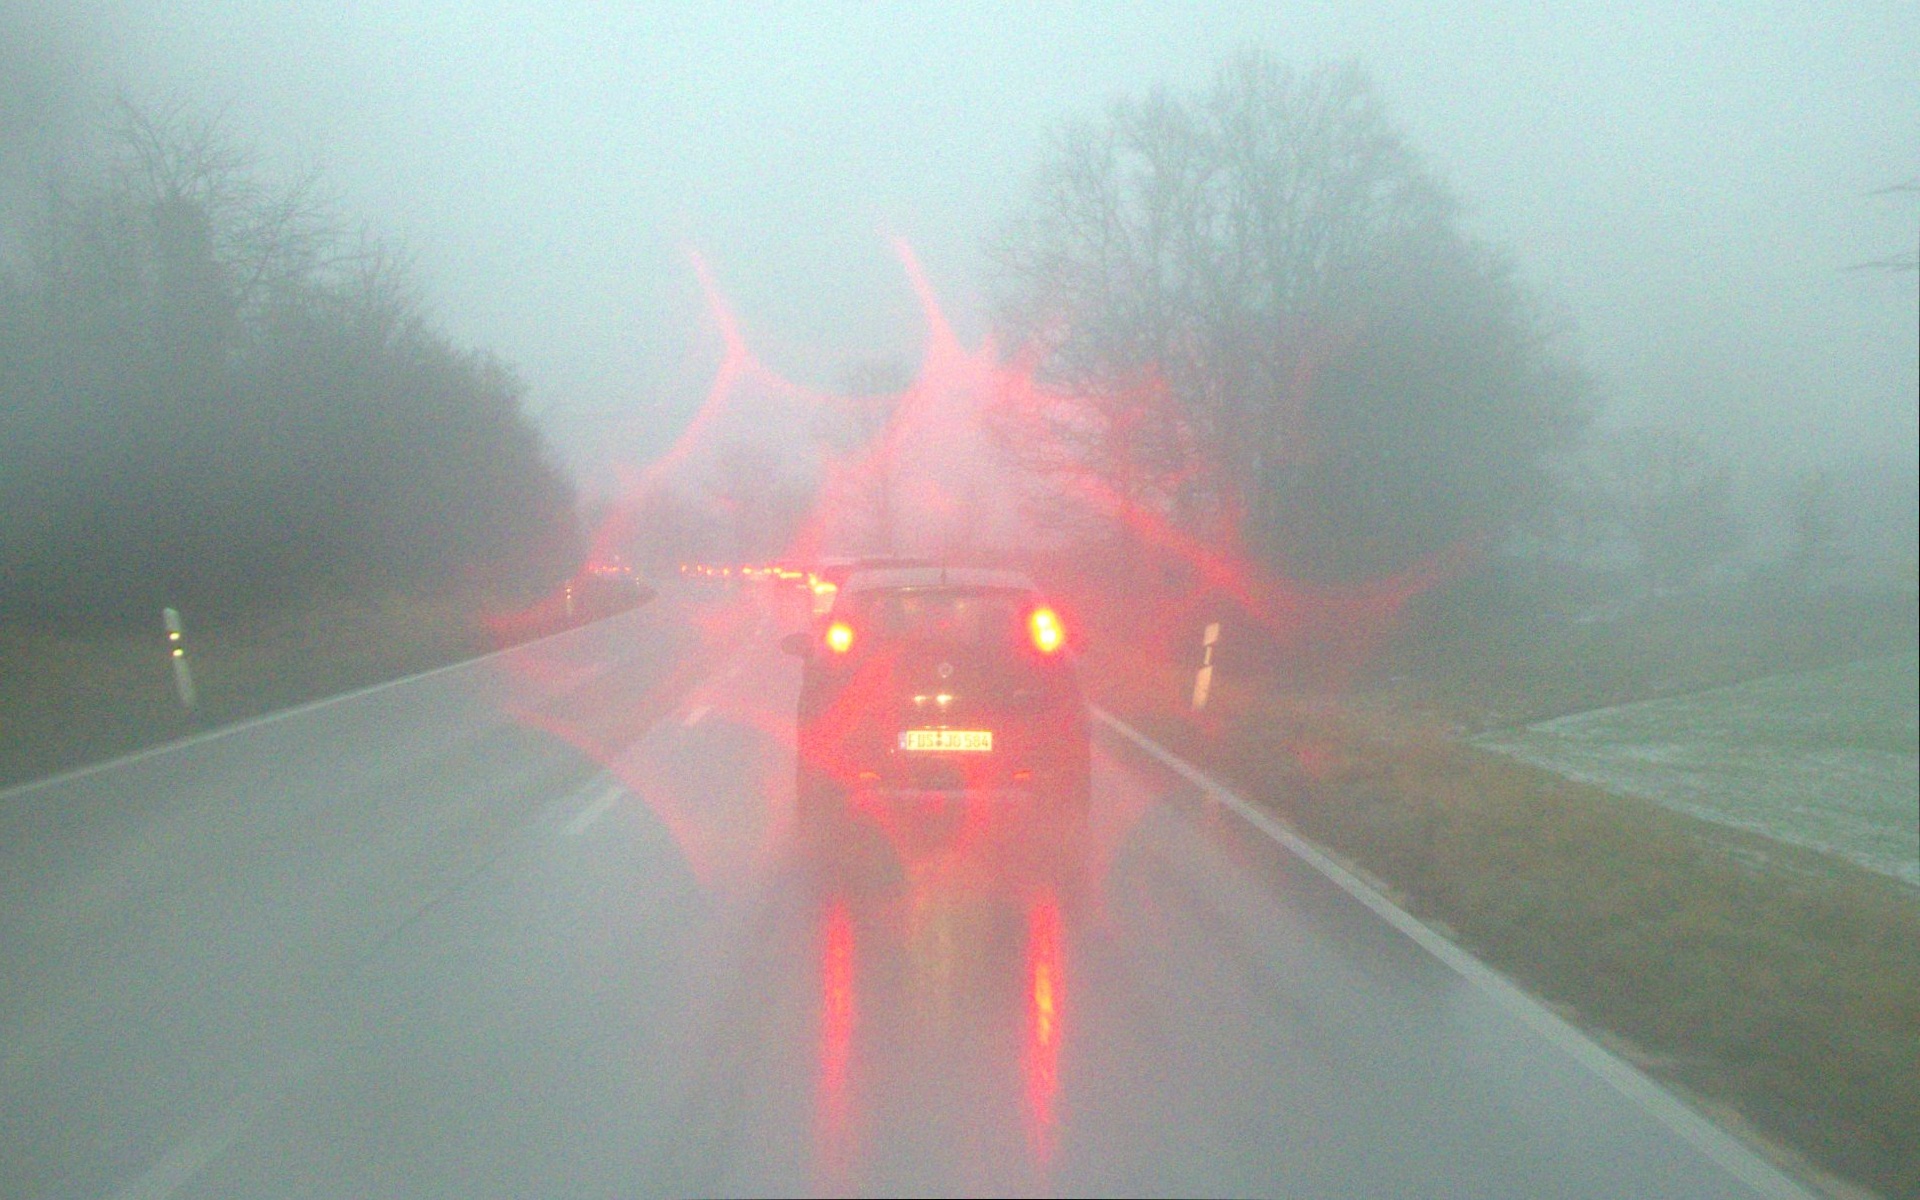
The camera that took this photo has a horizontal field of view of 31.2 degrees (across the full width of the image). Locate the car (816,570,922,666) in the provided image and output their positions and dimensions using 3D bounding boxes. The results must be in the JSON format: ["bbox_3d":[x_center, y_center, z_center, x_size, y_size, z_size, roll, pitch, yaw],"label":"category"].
[{"bbox_3d":[-1.390,0.252,52.515,1.547,1.392,3.870,1,1,-1],"label":"car"}]

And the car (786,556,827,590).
[{"bbox_3d":[-6.342,-1.114,142.237,1.547,1.392,3.869,1,1,-1],"label":"car"}]

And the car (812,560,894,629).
[{"bbox_3d":[-2.225,-0.123,72.197,1.547,1.392,3.869,1,1,0],"label":"car"}]

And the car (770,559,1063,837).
[{"bbox_3d":[-0.199,0.521,20.931,1.602,1.517,3.869,1,1,1],"label":"car"}]
